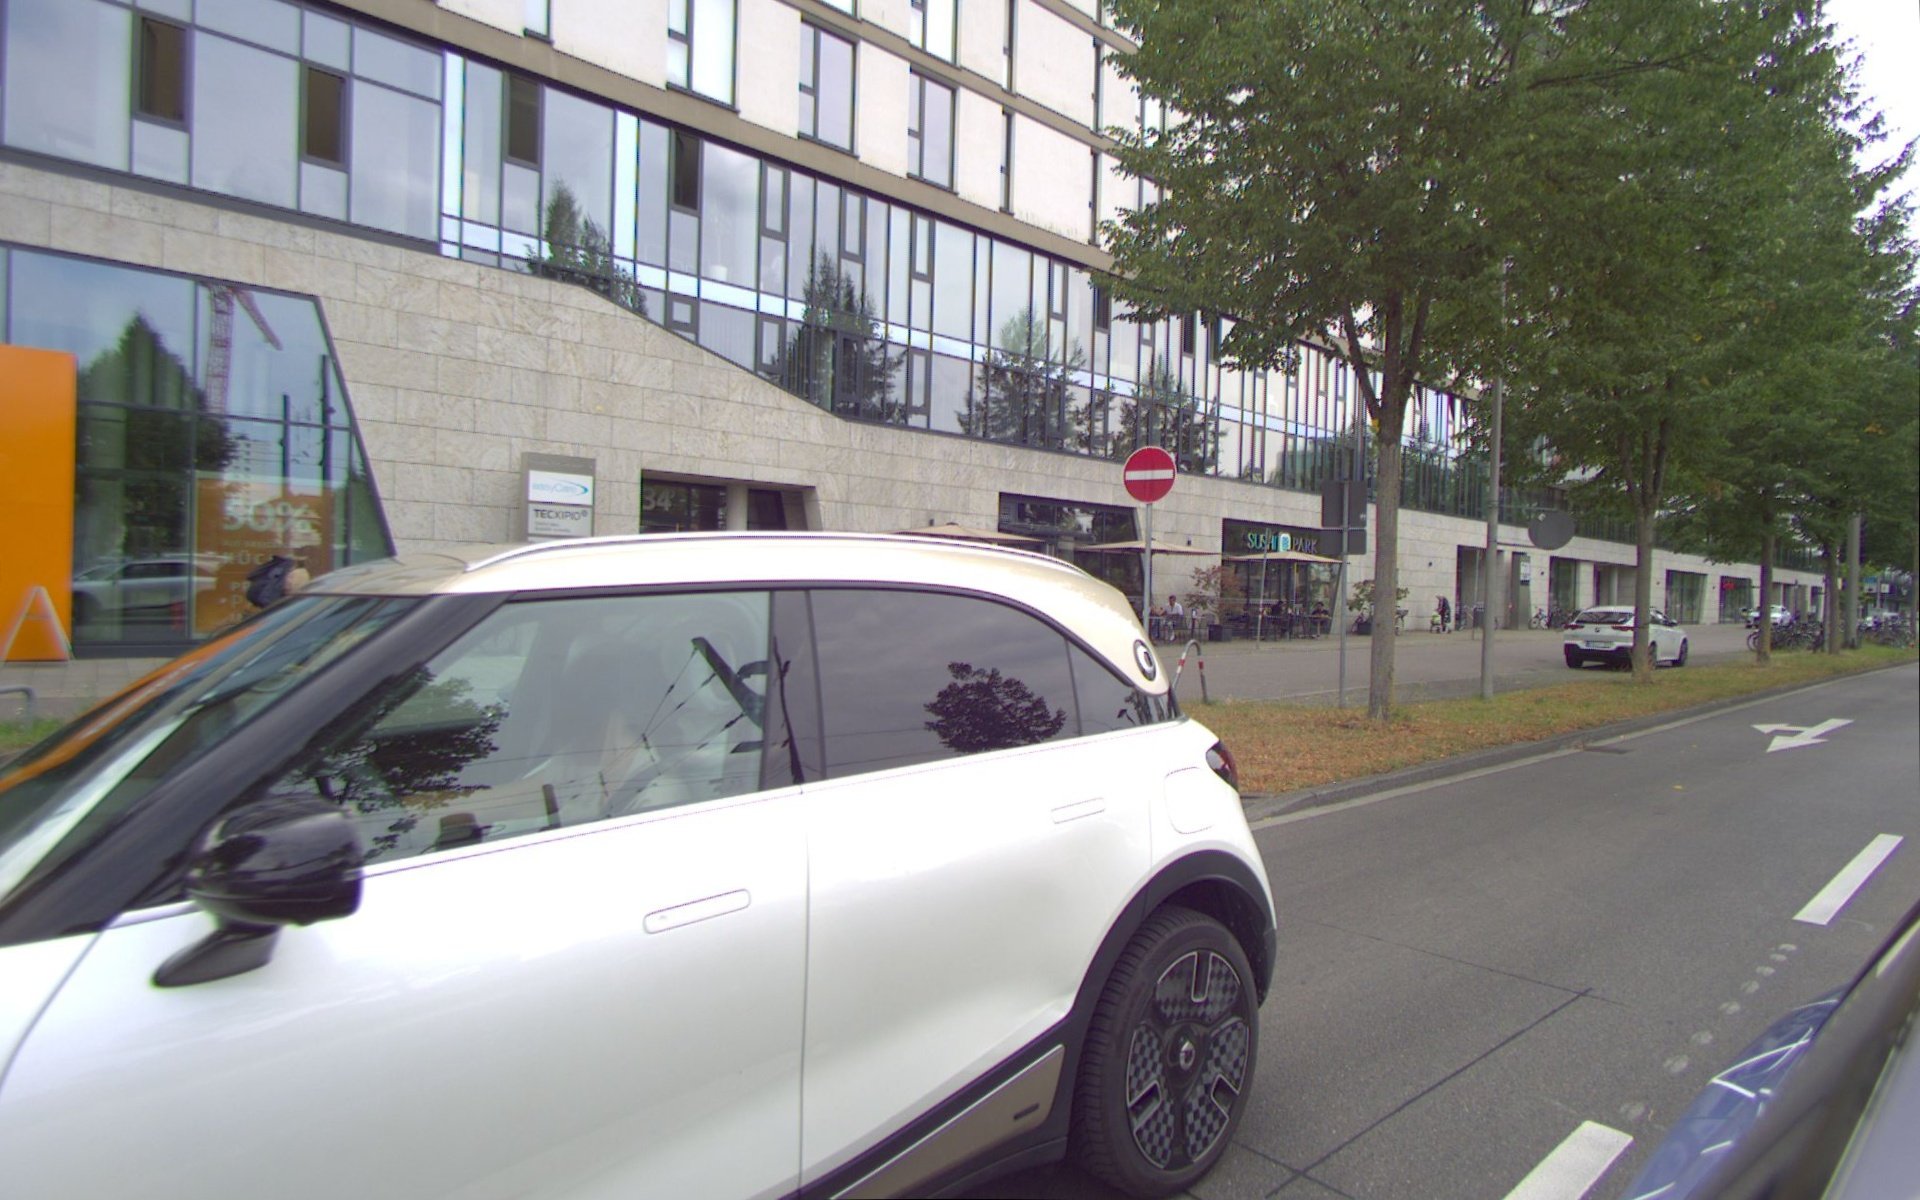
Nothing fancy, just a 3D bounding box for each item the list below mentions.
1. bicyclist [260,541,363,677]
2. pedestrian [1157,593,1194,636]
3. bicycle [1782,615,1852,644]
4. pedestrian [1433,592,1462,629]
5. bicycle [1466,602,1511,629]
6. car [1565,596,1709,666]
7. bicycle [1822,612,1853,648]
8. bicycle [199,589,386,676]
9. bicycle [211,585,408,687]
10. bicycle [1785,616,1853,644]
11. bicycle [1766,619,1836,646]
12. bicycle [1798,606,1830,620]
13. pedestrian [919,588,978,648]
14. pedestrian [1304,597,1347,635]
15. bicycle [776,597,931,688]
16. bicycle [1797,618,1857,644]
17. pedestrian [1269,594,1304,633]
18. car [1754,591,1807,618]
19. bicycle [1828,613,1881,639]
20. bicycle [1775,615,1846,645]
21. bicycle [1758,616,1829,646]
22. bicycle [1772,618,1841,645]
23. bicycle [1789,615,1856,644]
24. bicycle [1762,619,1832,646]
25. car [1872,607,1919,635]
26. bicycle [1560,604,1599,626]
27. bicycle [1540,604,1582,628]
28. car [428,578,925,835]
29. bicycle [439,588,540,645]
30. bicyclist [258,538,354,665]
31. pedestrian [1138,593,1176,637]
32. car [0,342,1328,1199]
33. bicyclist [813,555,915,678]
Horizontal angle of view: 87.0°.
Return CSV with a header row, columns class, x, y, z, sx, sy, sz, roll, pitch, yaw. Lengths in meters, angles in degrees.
class,x,y,z,sx,sy,sz,roll,pitch,yaw
bicyclist,-8.034,0.090,12.546,0.972,1.601,0.726,0,2,-41
pedestrian,6.198,0.415,29.068,0.745,1.207,0.720,1,1,-39
bicycle,32.248,1.117,38.110,0.631,1.079,1.931,1,-3,-43
pedestrian,19.354,0.406,40.181,0.707,1.424,0.759,1,0,-33
bicycle,22.367,0.638,42.864,1.585,1.039,0.606,2,1,23
car,17.180,0.740,25.605,4.513,1.571,1.941,1,1,-42
bicycle,28.500,0.965,32.866,0.709,1.130,2.170,-3,-2,41
bicycle,-8.750,0.409,13.322,1.972,1.055,0.674,1,1,-41
bicycle,-8.034,0.422,12.554,1.972,1.157,0.674,1,1,-41
bicycle,32.759,1.149,38.616,1.927,1.079,0.535,-2,-3,41
bicycle,30.549,1.172,36.780,0.642,0.963,1.862,1,-3,-43
bicycle,77.391,1.136,91.710,2.231,1.191,0.961,2,1,43
pedestrian,-0.253,0.386,21.992,0.932,1.243,0.900,1,1,-36
pedestrian,11.919,0.510,33.002,1.083,1.207,0.776,1,0,-26
bicycle,-1.599,0.617,15.507,2.229,1.250,0.903,1,2,-42
bicycle,33.709,1.195,39.356,1.742,0.987,0.600,-2,-3,42
pedestrian,10.527,0.440,32.638,0.743,1.207,0.722,1,0,-18
car,53.144,0.285,65.522,4.165,1.607,1.862,1,3,-41
bicycle,38.903,1.120,44.042,0.516,1.104,1.669,1,-2,-43
bicycle,31.638,1.118,37.675,0.693,1.079,1.931,1,-3,-43
bicycle,29.514,1.100,35.853,0.564,1.008,1.862,1,-3,-43
bicycle,31.119,1.171,37.234,0.602,0.963,1.862,1,-3,-43
bicycle,33.194,1.150,38.983,1.927,1.079,0.535,-2,-3,41
bicycle,29.990,1.172,36.302,0.493,0.963,1.862,1,-3,-43
car,51.588,1.139,55.555,4.109,1.439,1.763,1,0,-41
bicycle,30.527,0.729,49.885,0.524,1.039,1.531,1,1,-43
bicycle,28.059,0.722,47.271,0.524,1.039,1.599,1,2,-43
car,-1.908,0.605,8.641,1.919,1.494,4.849,2,1,14
bicycle,-8.043,0.272,17.338,1.466,0.921,0.519,1,1,-41
bicyclist,-8.683,0.002,13.441,0.972,1.601,0.726,0,2,-41
pedestrian,5.560,0.415,28.527,0.745,1.207,0.720,1,1,-41
car,-1.034,0.573,2.246,3.952,1.678,1.782,1,-1,-41
bicyclist,-1.480,0.230,15.543,1.110,1.758,0.999,1,3,-42
